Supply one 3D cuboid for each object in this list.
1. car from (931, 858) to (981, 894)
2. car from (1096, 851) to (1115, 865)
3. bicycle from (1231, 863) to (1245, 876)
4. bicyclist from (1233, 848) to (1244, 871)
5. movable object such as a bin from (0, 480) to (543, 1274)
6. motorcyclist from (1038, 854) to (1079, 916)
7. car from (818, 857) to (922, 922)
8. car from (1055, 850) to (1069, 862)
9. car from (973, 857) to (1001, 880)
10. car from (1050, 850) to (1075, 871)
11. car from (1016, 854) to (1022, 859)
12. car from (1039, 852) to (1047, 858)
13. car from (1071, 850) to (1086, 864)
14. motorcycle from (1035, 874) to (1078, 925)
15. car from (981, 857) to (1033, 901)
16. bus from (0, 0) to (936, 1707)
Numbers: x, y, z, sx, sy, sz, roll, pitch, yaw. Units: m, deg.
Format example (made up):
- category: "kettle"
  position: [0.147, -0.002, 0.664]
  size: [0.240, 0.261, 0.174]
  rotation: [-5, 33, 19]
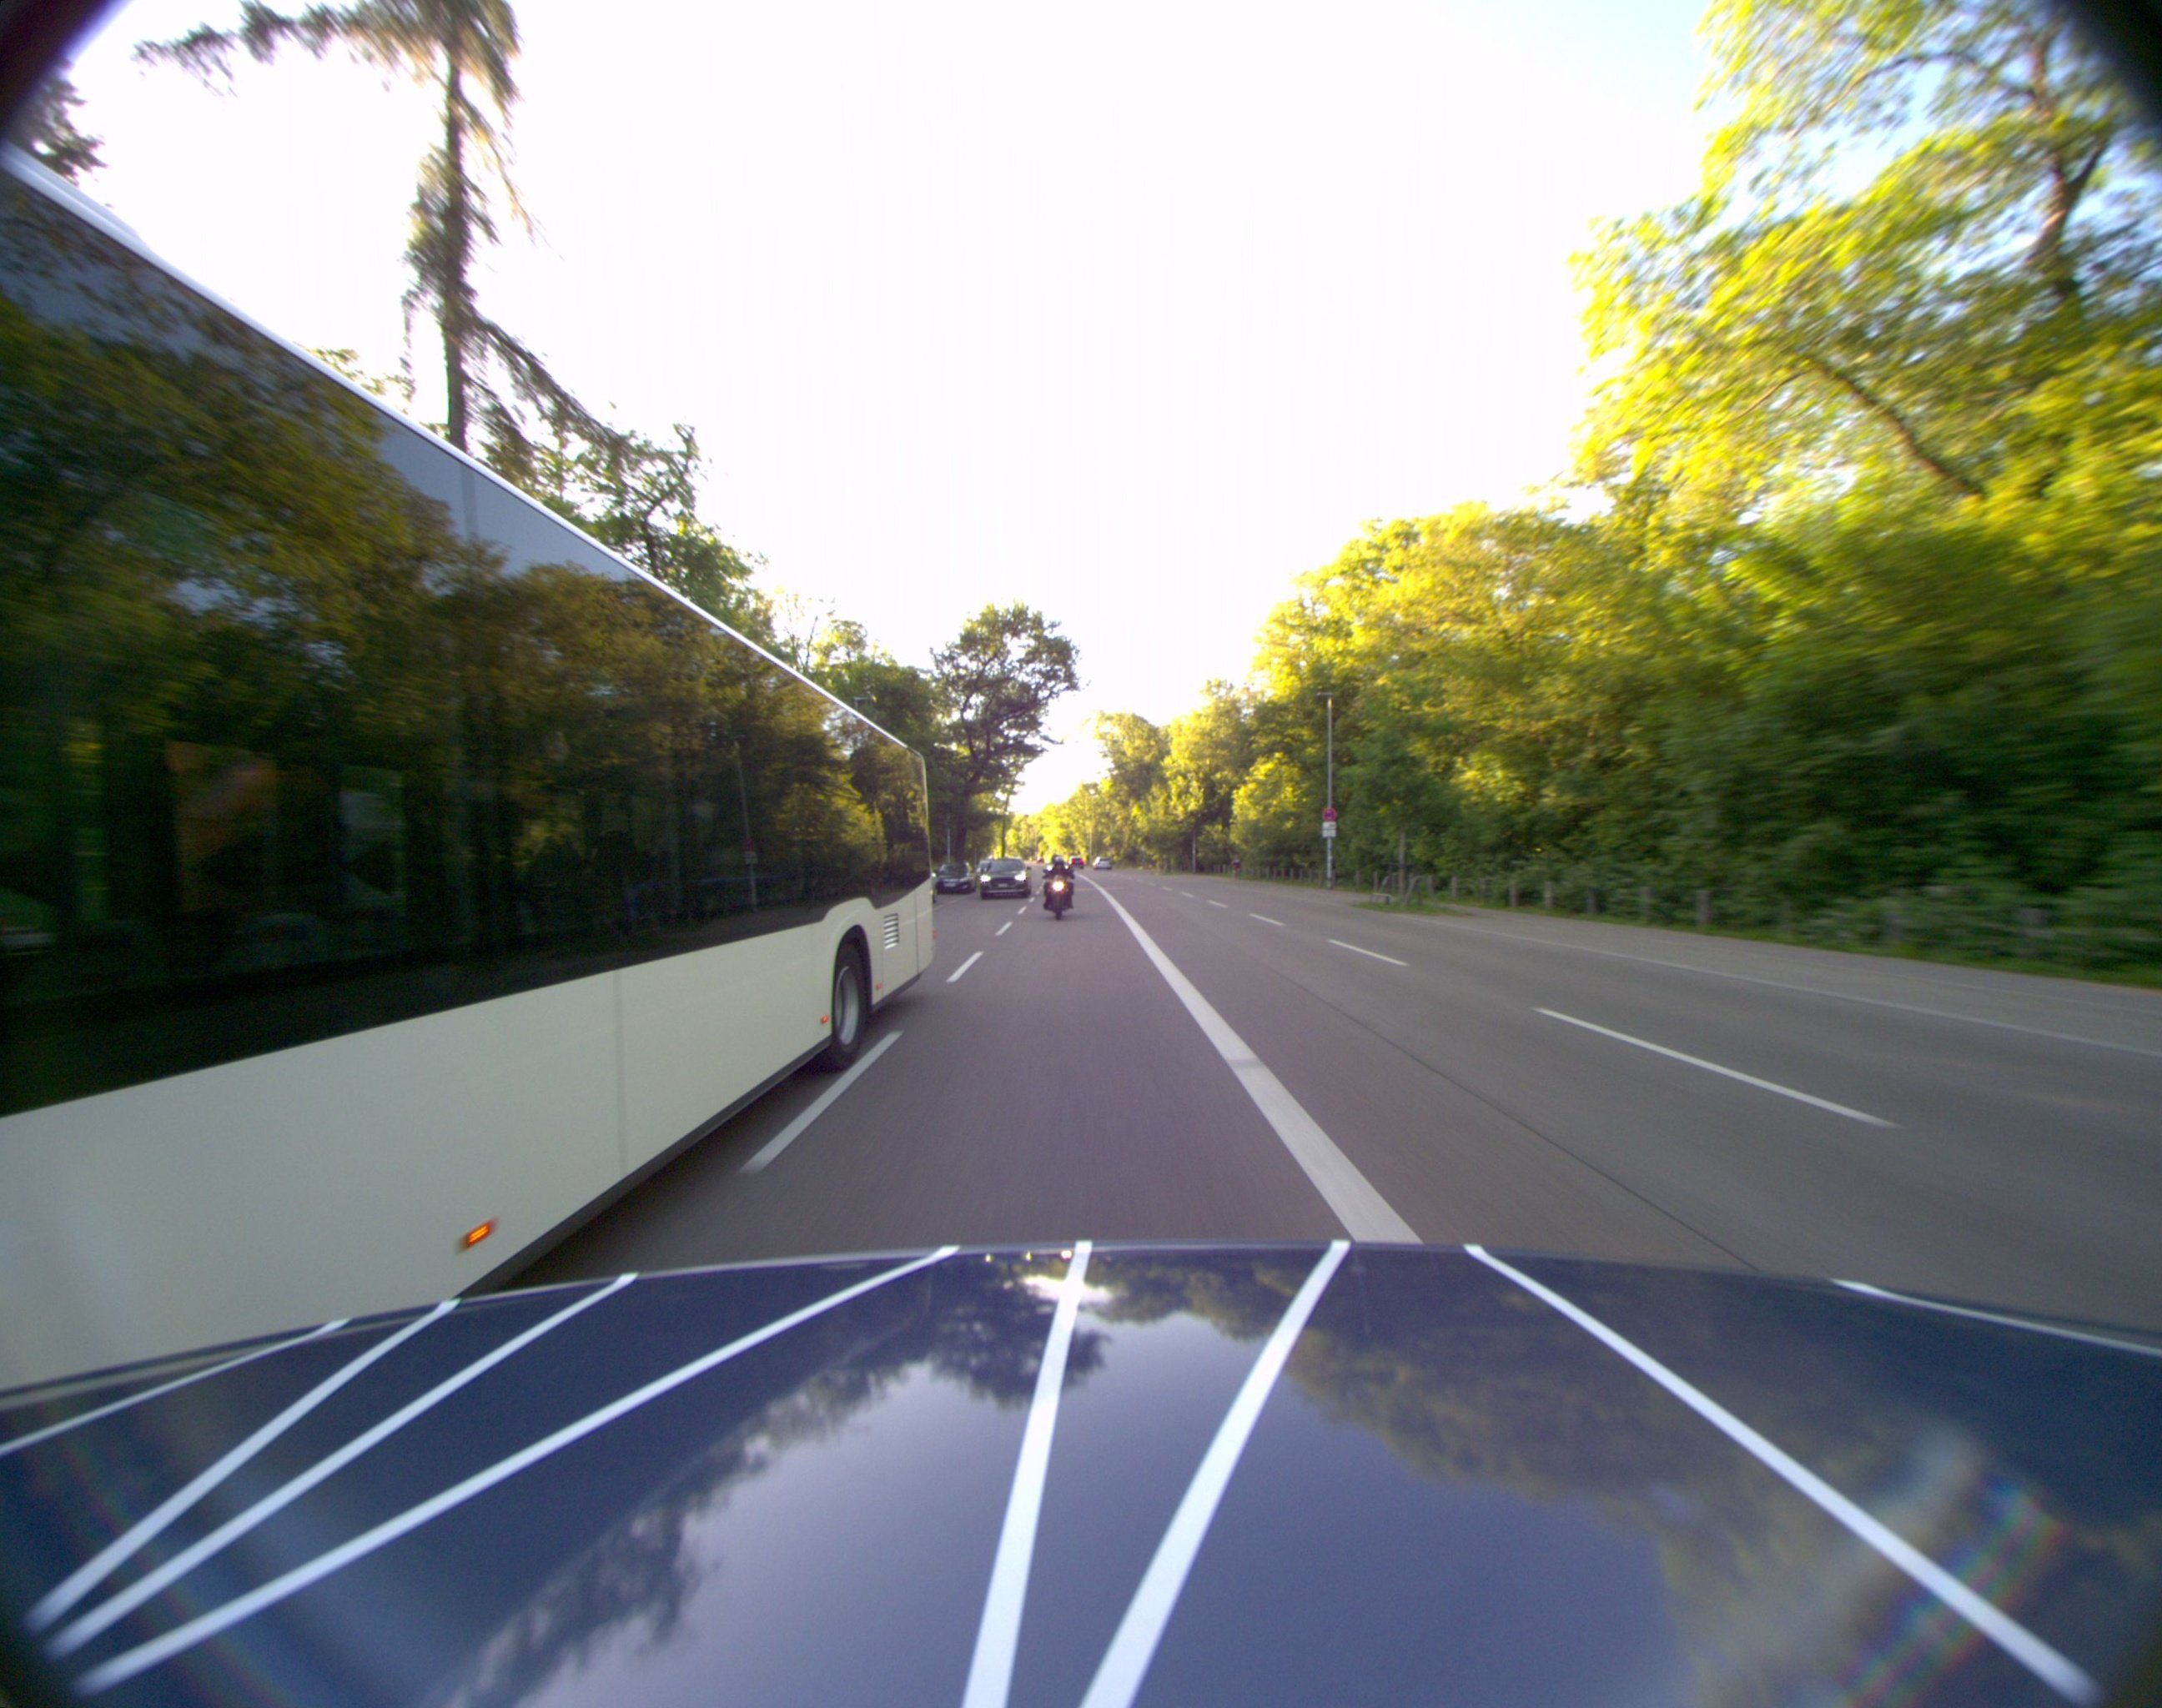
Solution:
- category: "car"
  position: [-5.980, 1.007, 36.776]
  size: [1.999, 1.548, 4.096]
  rotation: [1, 0, -4]
- category: "car"
  position: [2.925, 0.486, 91.024]
  size: [1.903, 1.523, 4.527]
  rotation: [-1, 0, -2]
- category: "bicycle"
  position: [10.106, 0.991, 48.985]
  size: [0.496, 0.809, 1.808]
  rotation: [2, 0, -1]
- category: "bicyclist"
  position: [10.130, 0.375, 48.984]
  size: [0.500, 1.475, 0.761]
  rotation: [1, 1, -1]
- category: "movable object such as a bin"
  position: [-5.924, 0.108, 2.791]
  size: [2.766, 3.351, 7.597]
  rotation: [-1, 0, -3]
- category: "motorcyclist"
  position: [-0.567, 0.779, 19.752]
  size: [0.953, 1.523, 1.074]
  rotation: [-2, 1, 1]
- category: "car"
  position: [-5.913, 0.925, 21.815]
  size: [1.843, 1.565, 4.458]
  rotation: [-1, 0, -2]
- category: "car"
  position: [-3.453, 0.342, 137.477]
  size: [2.212, 1.949, 4.911]
  rotation: [-1, 0, -3]
- category: "car"
  position: [-6.877, 1.035, 55.836]
  size: [1.732, 1.502, 4.169]
  rotation: [1, 0, -3]
- category: "car"
  position: [-1.612, 0.550, 67.593]
  size: [1.998, 1.761, 4.231]
  rotation: [-1, 0, 1]
- category: "car"
  position: [-19.775, 0.670, 241.969]
  size: [1.811, 1.536, 4.087]
  rotation: [-1, 0, -5]
- category: "car"
  position: [-10.055, 0.228, 200.140]
  size: [1.829, 1.454, 4.922]
  rotation: [-1, 0, -5]
- category: "car"
  position: [-0.340, 0.377, 99.213]
  size: [1.923, 1.694, 4.441]
  rotation: [-2, 0, -1]
- category: "motorcycle"
  position: [-0.590, 1.152, 20.083]
  size: [0.956, 1.098, 3.339]
  rotation: [-3, 0, 0]
- category: "car"
  position: [-2.994, 0.968, 31.514]
  size: [1.861, 1.608, 3.999]
  rotation: [-2, 0, -2]
- category: "bus"
  position: [-3.039, 0.144, 3.136]
  size: [2.711, 3.203, 12.276]
  rotation: [-1, 0, -1]
